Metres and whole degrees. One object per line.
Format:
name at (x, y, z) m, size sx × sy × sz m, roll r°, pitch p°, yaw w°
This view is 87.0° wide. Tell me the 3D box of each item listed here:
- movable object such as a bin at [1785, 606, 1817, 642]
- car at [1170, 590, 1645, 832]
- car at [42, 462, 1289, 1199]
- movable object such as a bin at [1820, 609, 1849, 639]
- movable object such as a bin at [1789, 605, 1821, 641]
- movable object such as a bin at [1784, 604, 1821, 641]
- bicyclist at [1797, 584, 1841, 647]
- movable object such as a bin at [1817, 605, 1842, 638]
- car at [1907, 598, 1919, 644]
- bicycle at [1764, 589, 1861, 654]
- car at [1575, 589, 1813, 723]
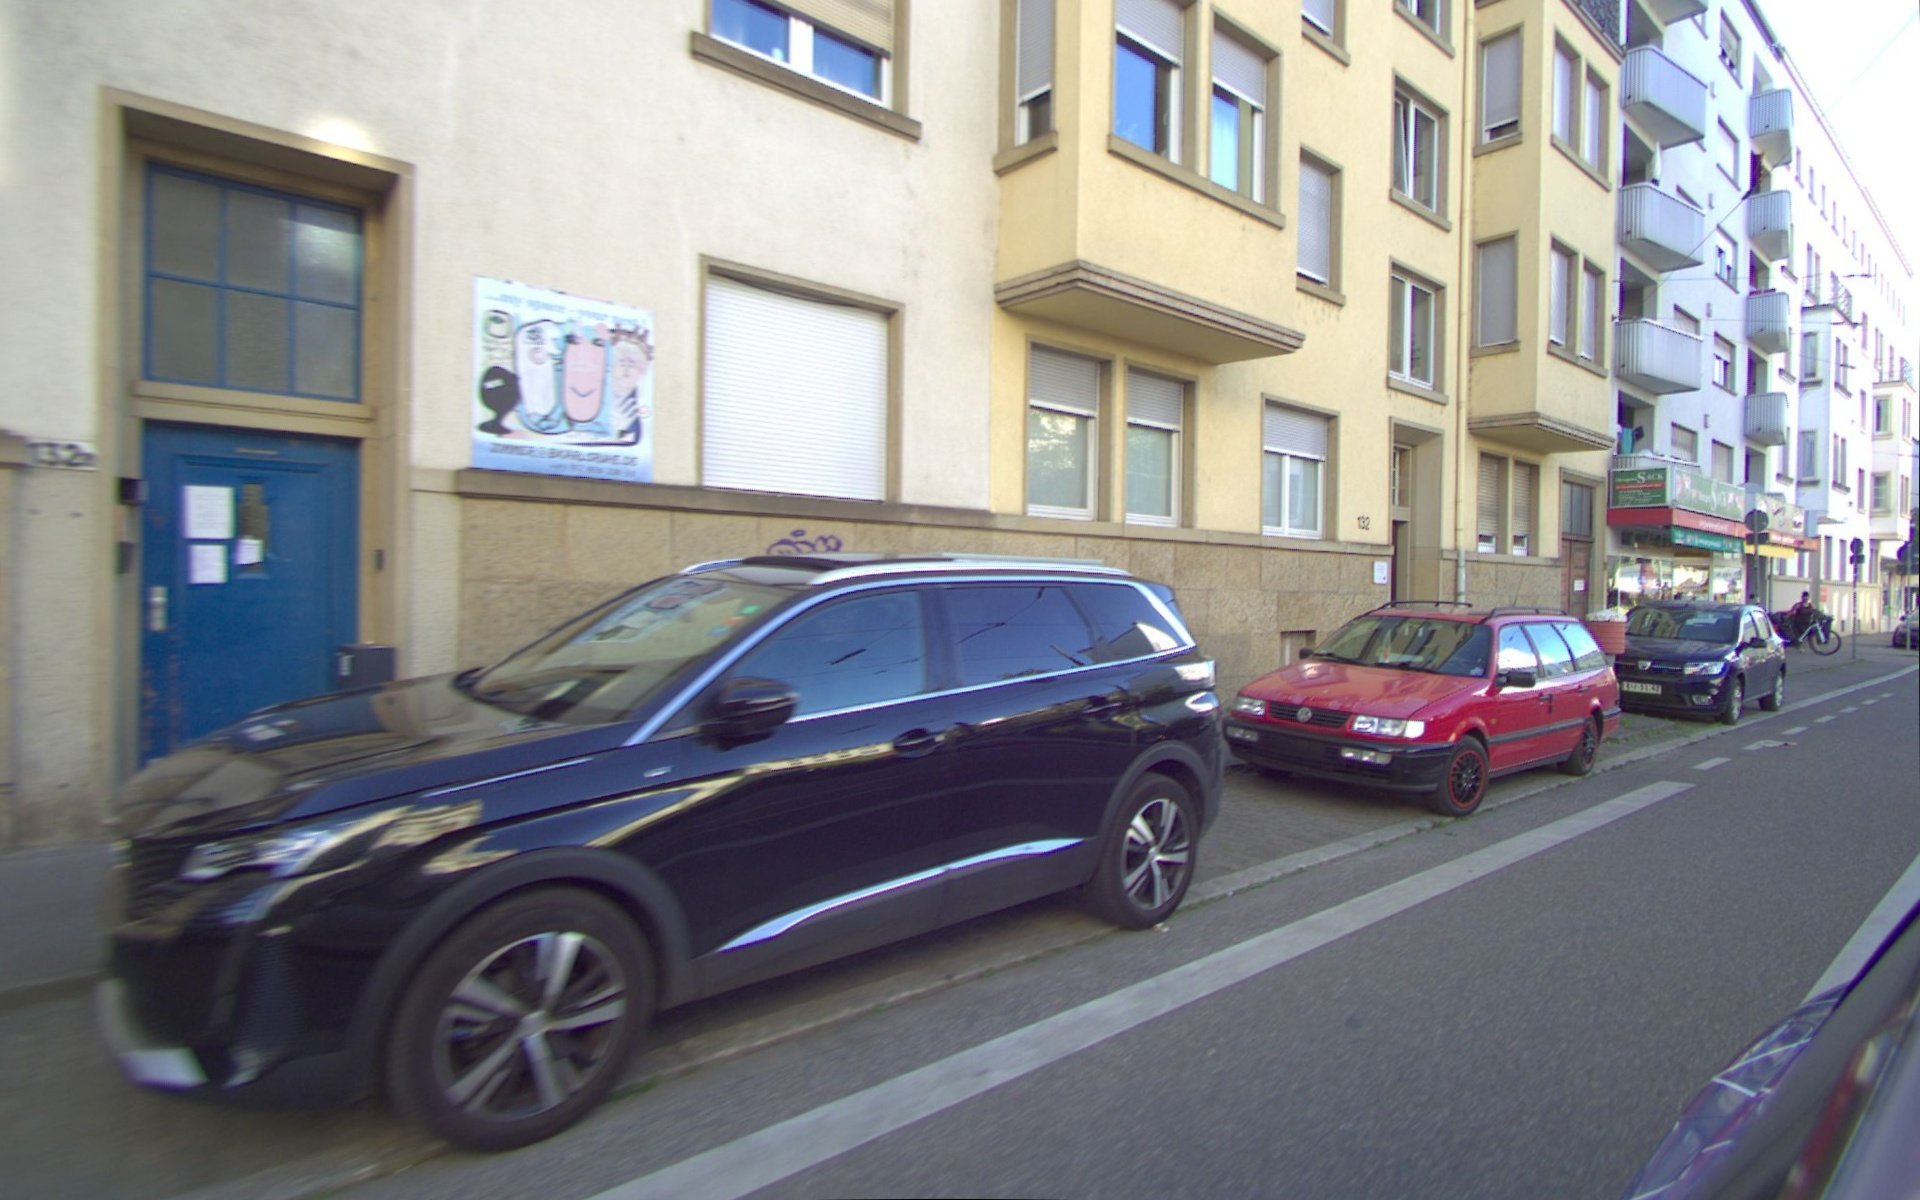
movable object such as a bin at (25.824, 0.732, 31.068) m, size 0.560 × 1.086 × 0.677 m, roll 0°, pitch 0°, yaw -41°
car at (3.942, 0.672, 8.491) m, size 4.627 × 1.474 × 1.862 m, roll 0°, pitch 1°, yaw -41°
car at (-0.718, 0.541, 4.208) m, size 4.480 × 1.686 × 1.863 m, roll 0°, pitch 1°, yaw -40°
movable object such as a bin at (28.136, 0.772, 32.562) m, size 0.560 × 0.928 × 0.656 m, roll 0°, pitch 0°, yaw -41°
movable object such as a bin at (26.262, 0.694, 31.451) m, size 0.560 × 1.086 × 0.677 m, roll 0°, pitch 0°, yaw -41°
movable object such as a bin at (25.377, 0.674, 30.484) m, size 0.607 × 1.086 × 0.771 m, roll 0°, pitch 0°, yaw -41°
bicyclist at (23.786, 0.415, 28.024) m, size 0.500 × 1.724 × 0.845 m, roll 0°, pitch 0°, yaw -37°
movable object such as a bin at (28.528, 0.691, 33.196) m, size 0.545 × 1.070 × 0.559 m, roll 0°, pitch 0°, yaw -41°
car at (31.775, 0.694, 32.262) m, size 4.280 × 1.424 × 1.715 m, roll 0°, pitch 4°, yaw -40°
bicycle at (23.621, 0.557, 28.078) m, size 0.761 × 1.732 × 1.936 m, roll 0°, pitch 0°, yaw -37°
car at (10.052, 0.637, 13.758) m, size 3.931 × 1.509 × 1.722 m, roll 0°, pitch 2°, yaw -41°
